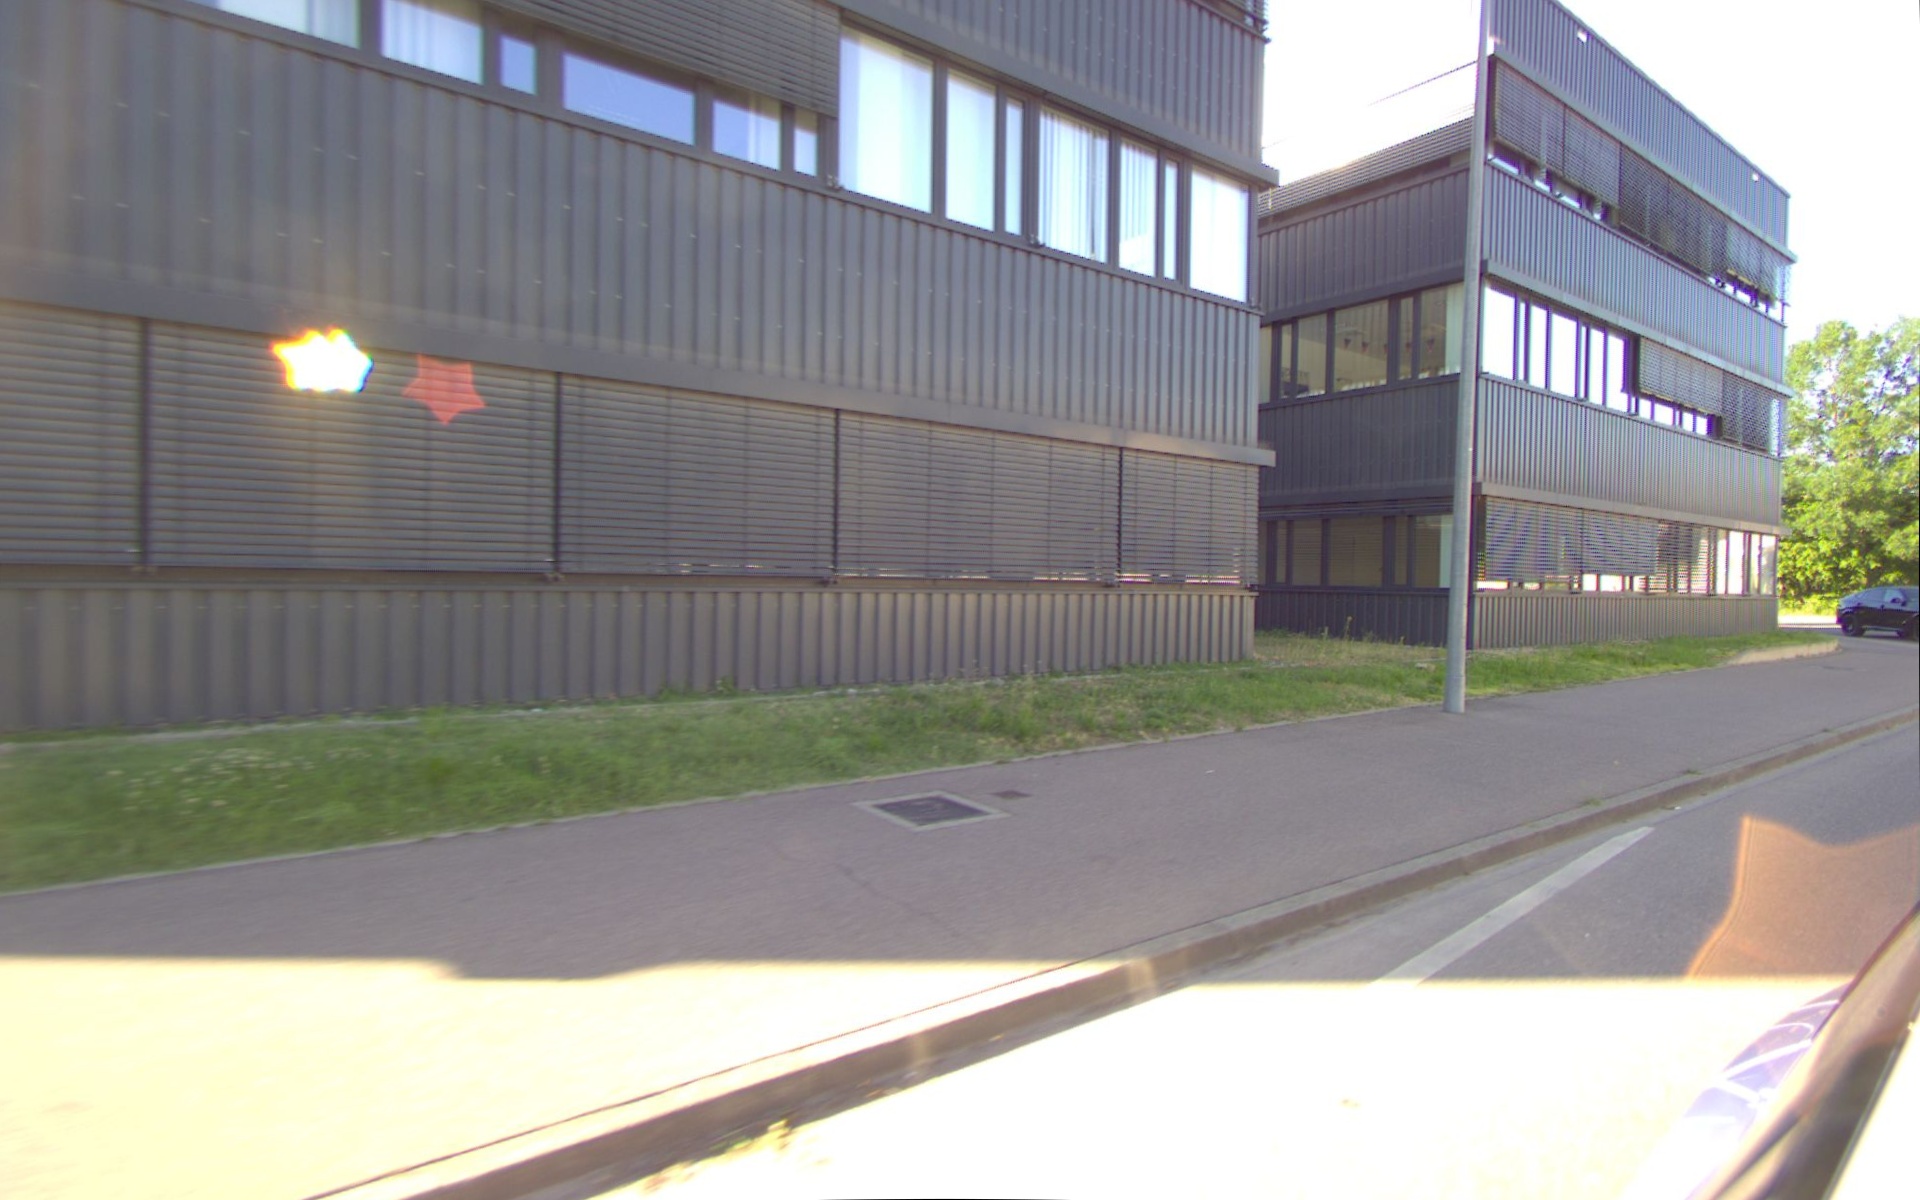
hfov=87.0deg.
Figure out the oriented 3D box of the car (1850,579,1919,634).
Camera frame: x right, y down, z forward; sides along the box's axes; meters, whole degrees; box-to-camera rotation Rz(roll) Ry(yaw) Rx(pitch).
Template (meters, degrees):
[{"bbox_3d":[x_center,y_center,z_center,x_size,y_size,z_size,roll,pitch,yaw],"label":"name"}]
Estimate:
[{"bbox_3d":[30.802,0.218,31.879,2.005,1.653,4.601,0,2,10],"label":"car"}]
